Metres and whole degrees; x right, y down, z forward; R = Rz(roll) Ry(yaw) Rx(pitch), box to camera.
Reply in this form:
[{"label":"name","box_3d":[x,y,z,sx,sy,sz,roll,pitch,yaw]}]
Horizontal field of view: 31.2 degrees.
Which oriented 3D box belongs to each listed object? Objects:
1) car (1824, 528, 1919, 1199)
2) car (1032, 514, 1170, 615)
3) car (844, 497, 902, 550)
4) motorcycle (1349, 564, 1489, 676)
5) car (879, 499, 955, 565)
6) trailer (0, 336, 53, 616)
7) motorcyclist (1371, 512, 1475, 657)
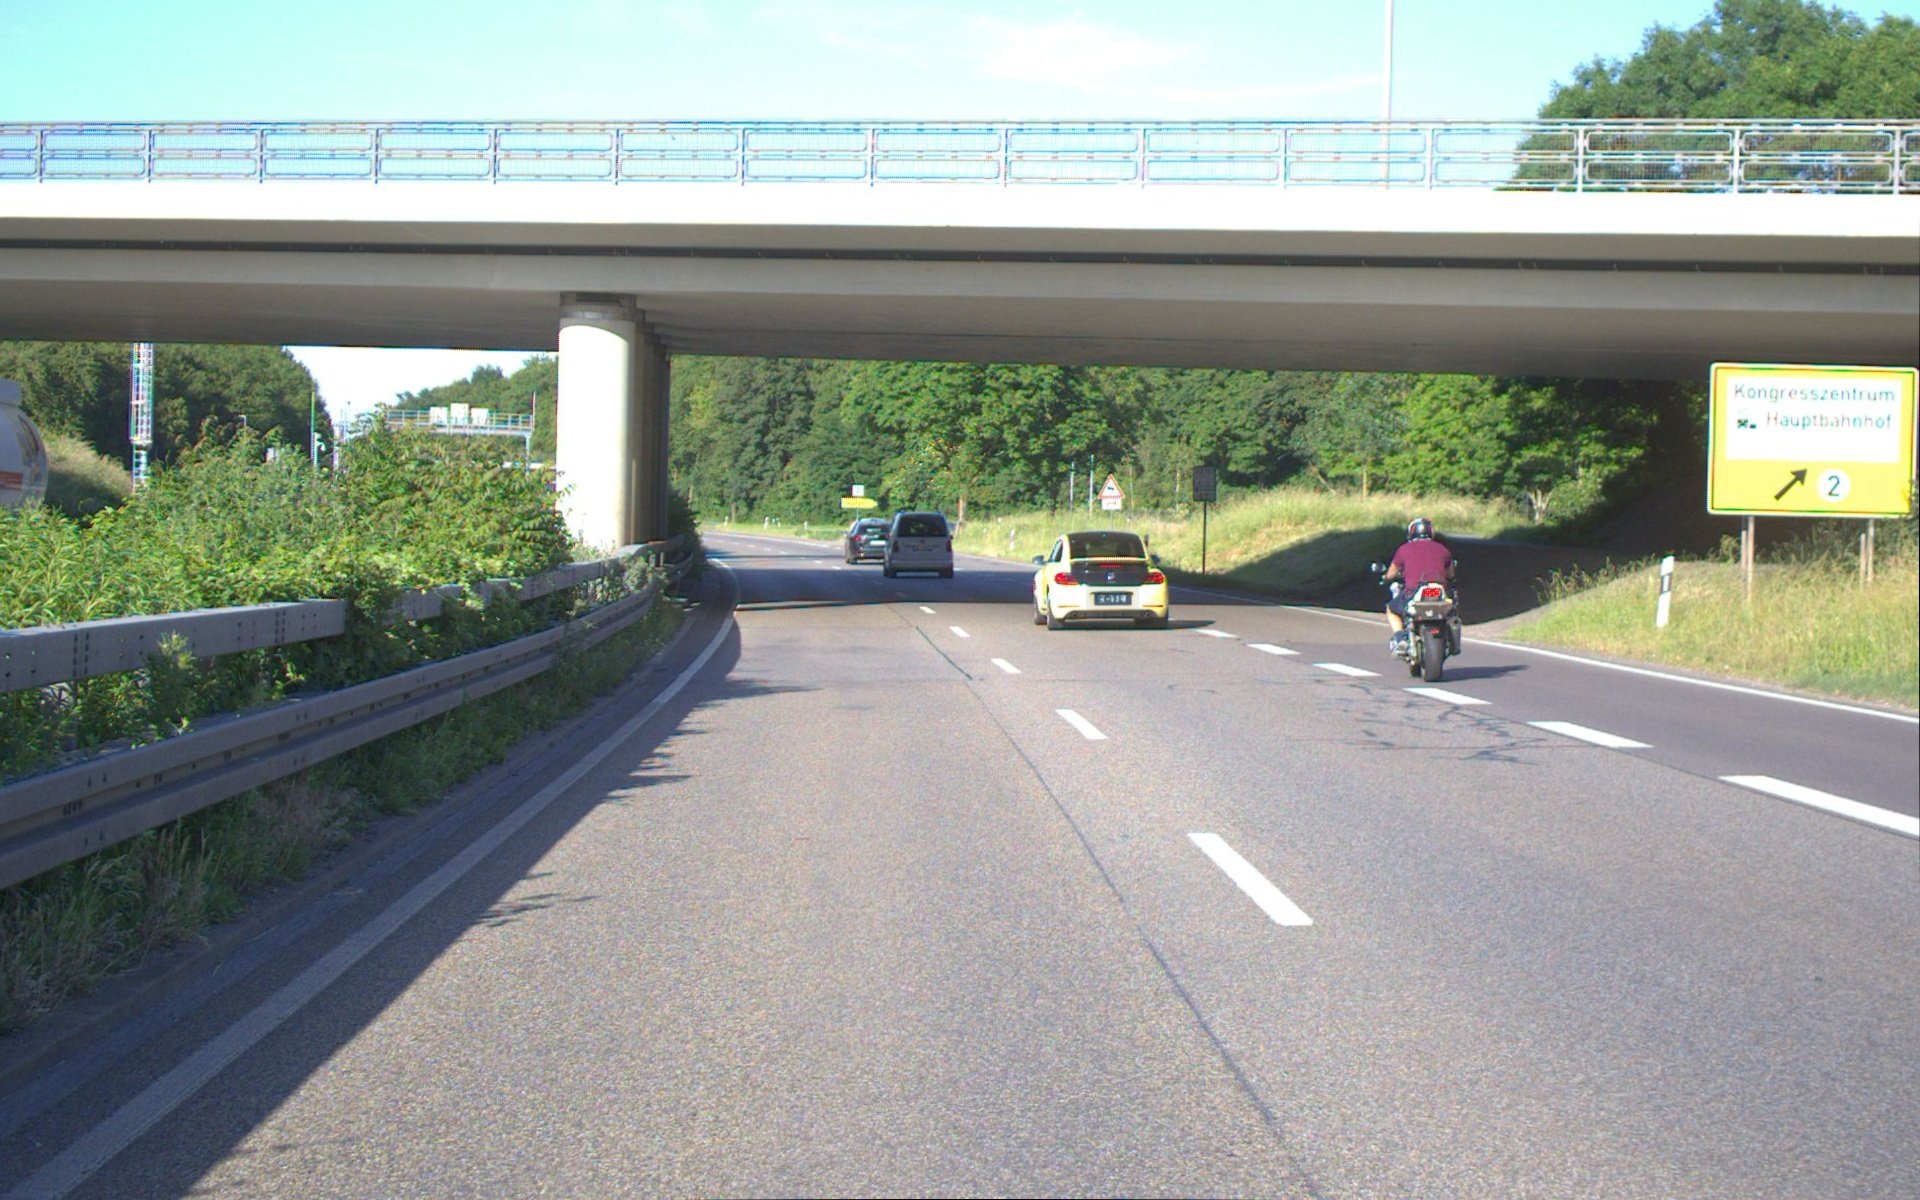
[{"label":"car","box_3d":[2.888,0.629,5.620,1.699,1.501,4.579,-1,1,-1]},{"label":"car","box_3d":[2.110,-0.569,52.351,1.897,1.466,4.000,0,2,0]},{"label":"car","box_3d":[-2.975,-2.610,117.128,1.897,1.761,4.001,0,2,-3]},{"label":"motorcycle","box_3d":[4.667,0.183,35.158,0.816,1.066,2.836,0,1,-5]},{"label":"car","box_3d":[-1.189,-1.859,94.255,1.897,1.761,4.001,-1,1,-3]},{"label":"trailer","box_3d":[-13.790,-1.560,41.755,2.776,3.645,12.207,1,1,-2]},{"label":"motorcyclist","box_3d":[4.693,-0.164,34.882,0.816,1.442,1.094,0,1,-5]}]
